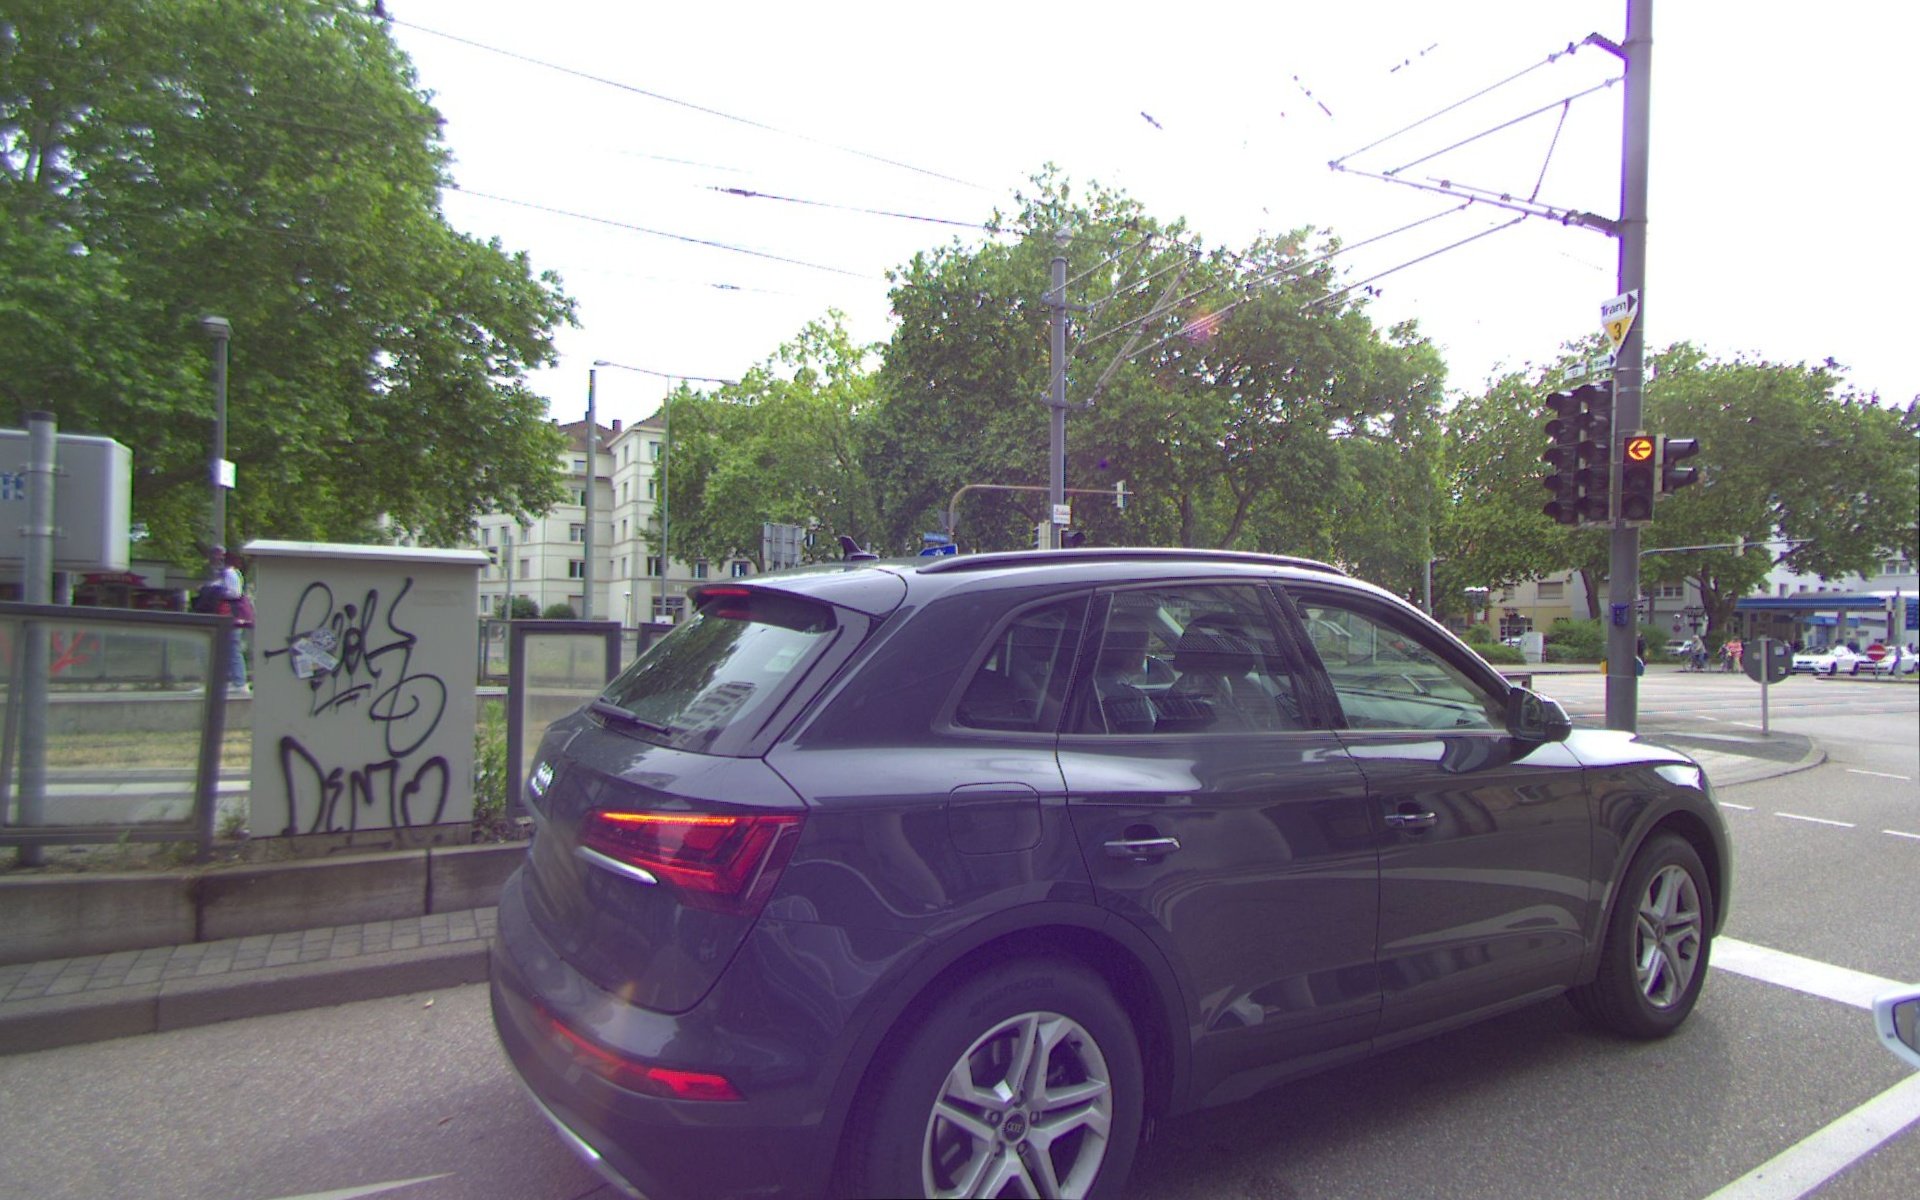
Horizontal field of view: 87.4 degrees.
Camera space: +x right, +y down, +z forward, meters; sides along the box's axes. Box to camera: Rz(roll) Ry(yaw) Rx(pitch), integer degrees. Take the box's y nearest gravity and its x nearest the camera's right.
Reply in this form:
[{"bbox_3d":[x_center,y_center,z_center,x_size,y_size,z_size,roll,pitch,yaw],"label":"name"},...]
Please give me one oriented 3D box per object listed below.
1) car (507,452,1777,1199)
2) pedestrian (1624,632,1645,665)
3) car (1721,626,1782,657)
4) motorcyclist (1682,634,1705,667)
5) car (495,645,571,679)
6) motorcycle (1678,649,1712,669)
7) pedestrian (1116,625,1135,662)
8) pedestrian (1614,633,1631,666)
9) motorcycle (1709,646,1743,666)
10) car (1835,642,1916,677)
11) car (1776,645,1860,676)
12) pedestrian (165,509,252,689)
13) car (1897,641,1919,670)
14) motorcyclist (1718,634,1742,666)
[{"bbox_3d":[0.822,0.637,3.458,4.177,1.658,1.725,2,0,-30],"label":"car"},{"bbox_3d":[36.003,2.567,53.611,0.862,1.735,0.870,0,-1,38],"label":"pedestrian"},{"bbox_3d":[54.609,2.877,69.297,3.953,2.040,1.984,2,-1,-30],"label":"car"},{"bbox_3d":[35.776,2.460,48.984,0.863,1.540,0.617,2,-1,-30],"label":"motorcyclist"},{"bbox_3d":[-24.127,3.473,56.740,3.929,1.706,1.996,0,-1,31],"label":"car"},{"bbox_3d":[35.895,2.864,49.032,1.928,0.941,0.604,2,-1,-30],"label":"motorcycle"},{"bbox_3d":[6.918,1.804,41.950,0.644,1.530,0.683,1,-1,-3],"label":"pedestrian"},{"bbox_3d":[35.504,2.662,53.824,0.681,1.735,0.865,0,-1,41],"label":"pedestrian"},{"bbox_3d":[36.948,2.691,48.426,1.928,0.941,0.604,2,-1,-30],"label":"motorcycle"},{"bbox_3d":[46.975,3.026,51.520,3.953,1.615,1.984,2,0,-30],"label":"car"},{"bbox_3d":[41.340,2.912,48.399,4.025,1.338,1.739,2,0,-29],"label":"car"},{"bbox_3d":[-8.600,-0.008,11.523,0.658,1.976,0.732,2,0,-30],"label":"pedestrian"},{"bbox_3d":[52.778,3.038,54.602,3.593,1.497,1.649,2,0,-29],"label":"car"},{"bbox_3d":[37.231,2.420,48.570,0.863,1.540,0.617,2,-1,-30],"label":"motorcyclist"}]
